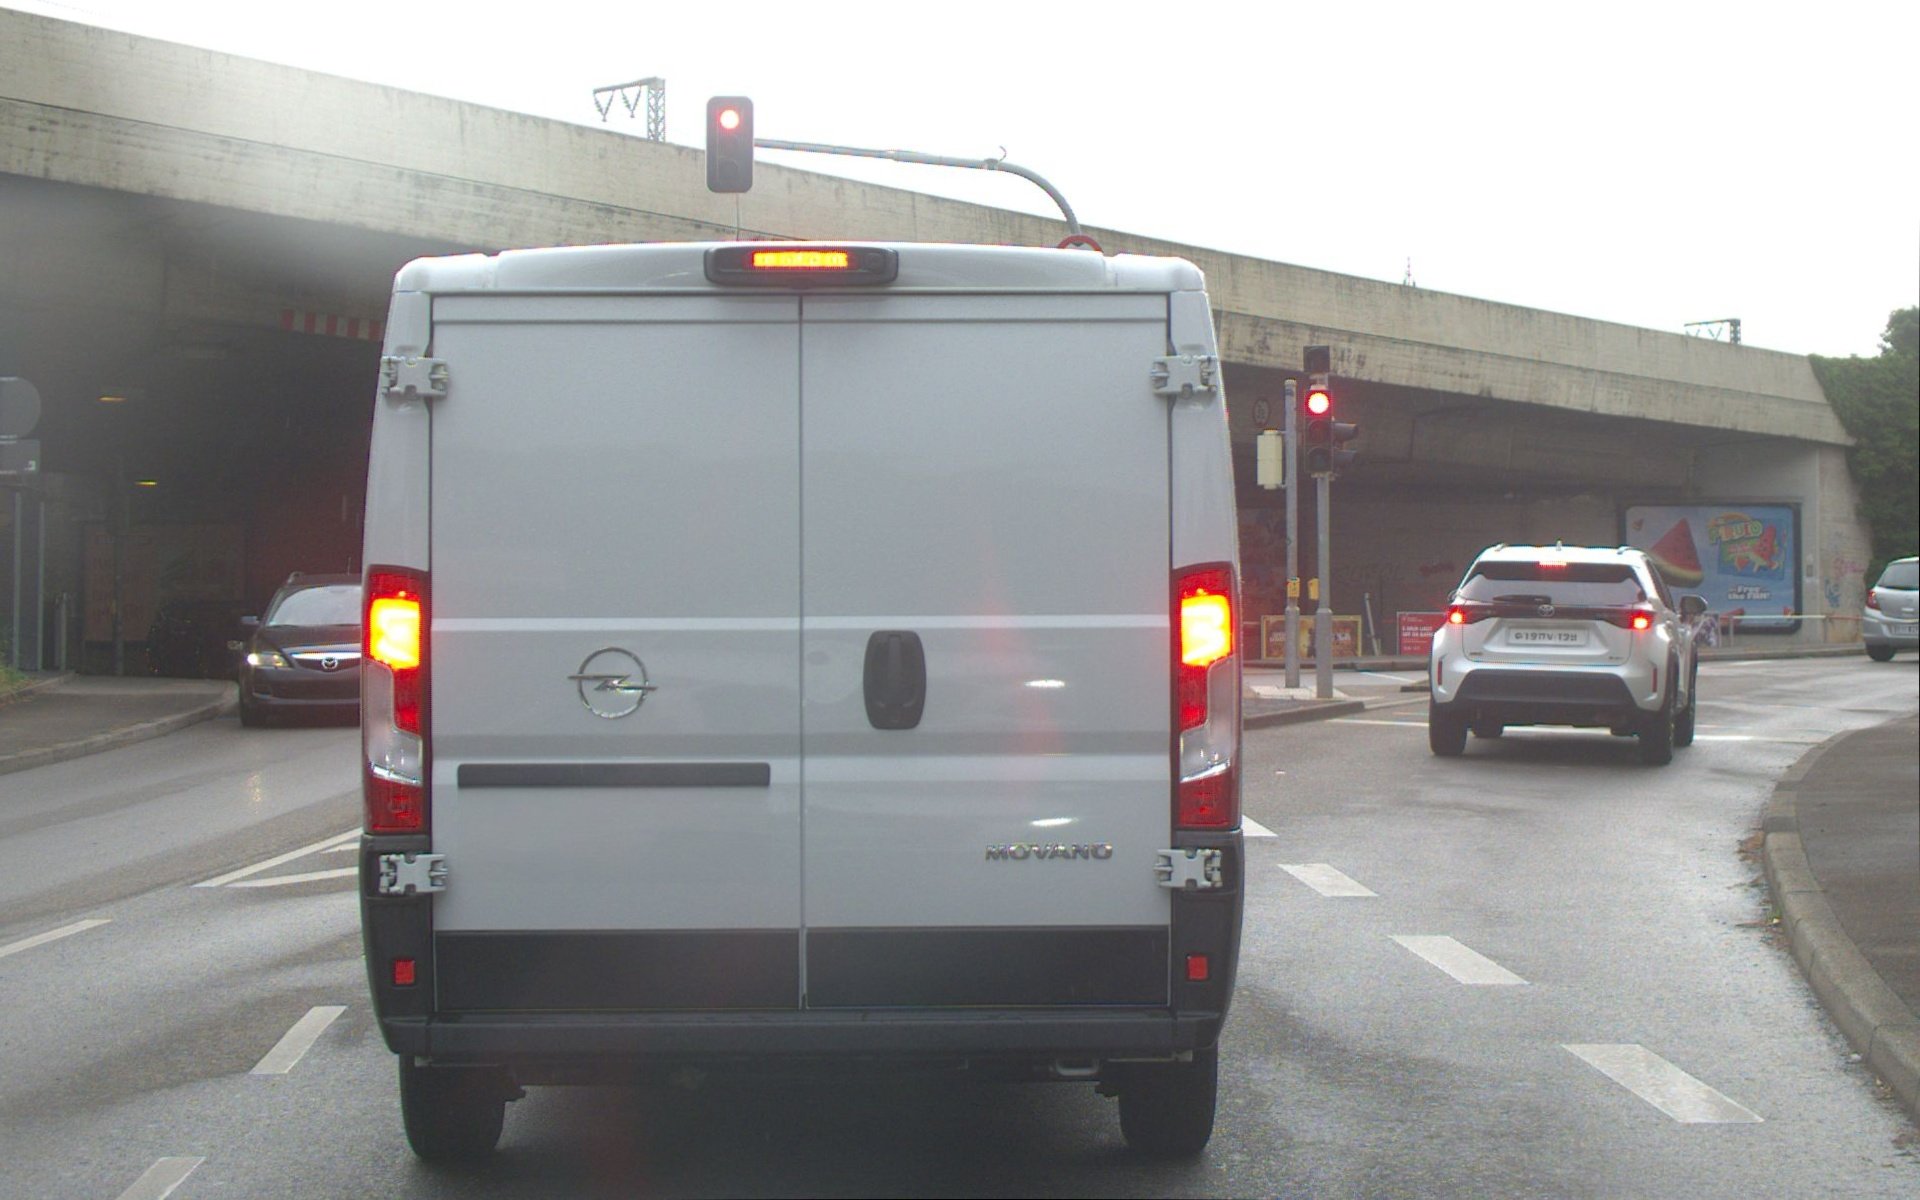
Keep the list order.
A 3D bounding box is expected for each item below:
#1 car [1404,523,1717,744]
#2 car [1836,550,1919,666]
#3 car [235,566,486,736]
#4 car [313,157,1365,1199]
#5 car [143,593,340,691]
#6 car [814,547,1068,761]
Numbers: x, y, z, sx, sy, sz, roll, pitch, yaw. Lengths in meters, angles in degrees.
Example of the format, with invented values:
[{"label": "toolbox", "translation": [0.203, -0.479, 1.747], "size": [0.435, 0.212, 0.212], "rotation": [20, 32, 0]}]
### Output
[{"label": "car", "translation": [4.651, 0.249, 26.191], "size": [1.995, 1.544, 3.997], "rotation": [0, -1, 15]}, {"label": "car", "translation": [14.063, 0.126, 47.415], "size": [3.989, 1.549, 1.999], "rotation": [1, -1, -43]}, {"label": "car", "translation": [-5.846, 0.449, 33.987], "size": [1.841, 1.564, 4.413], "rotation": [0, 0, -2]}, {"label": "car", "translation": [-0.272, 0.201, 10.241], "size": [2.305, 2.335, 5.282], "rotation": [1, 0, 0]}, {"label": "car", "translation": [-11.627, 0.674, 55.464], "size": [1.993, 1.513, 4.000], "rotation": [0, -1, -29]}, {"label": "car", "translation": [-0.092, 0.454, 29.753], "size": [1.994, 1.723, 3.999], "rotation": [0, -1, 3]}]
